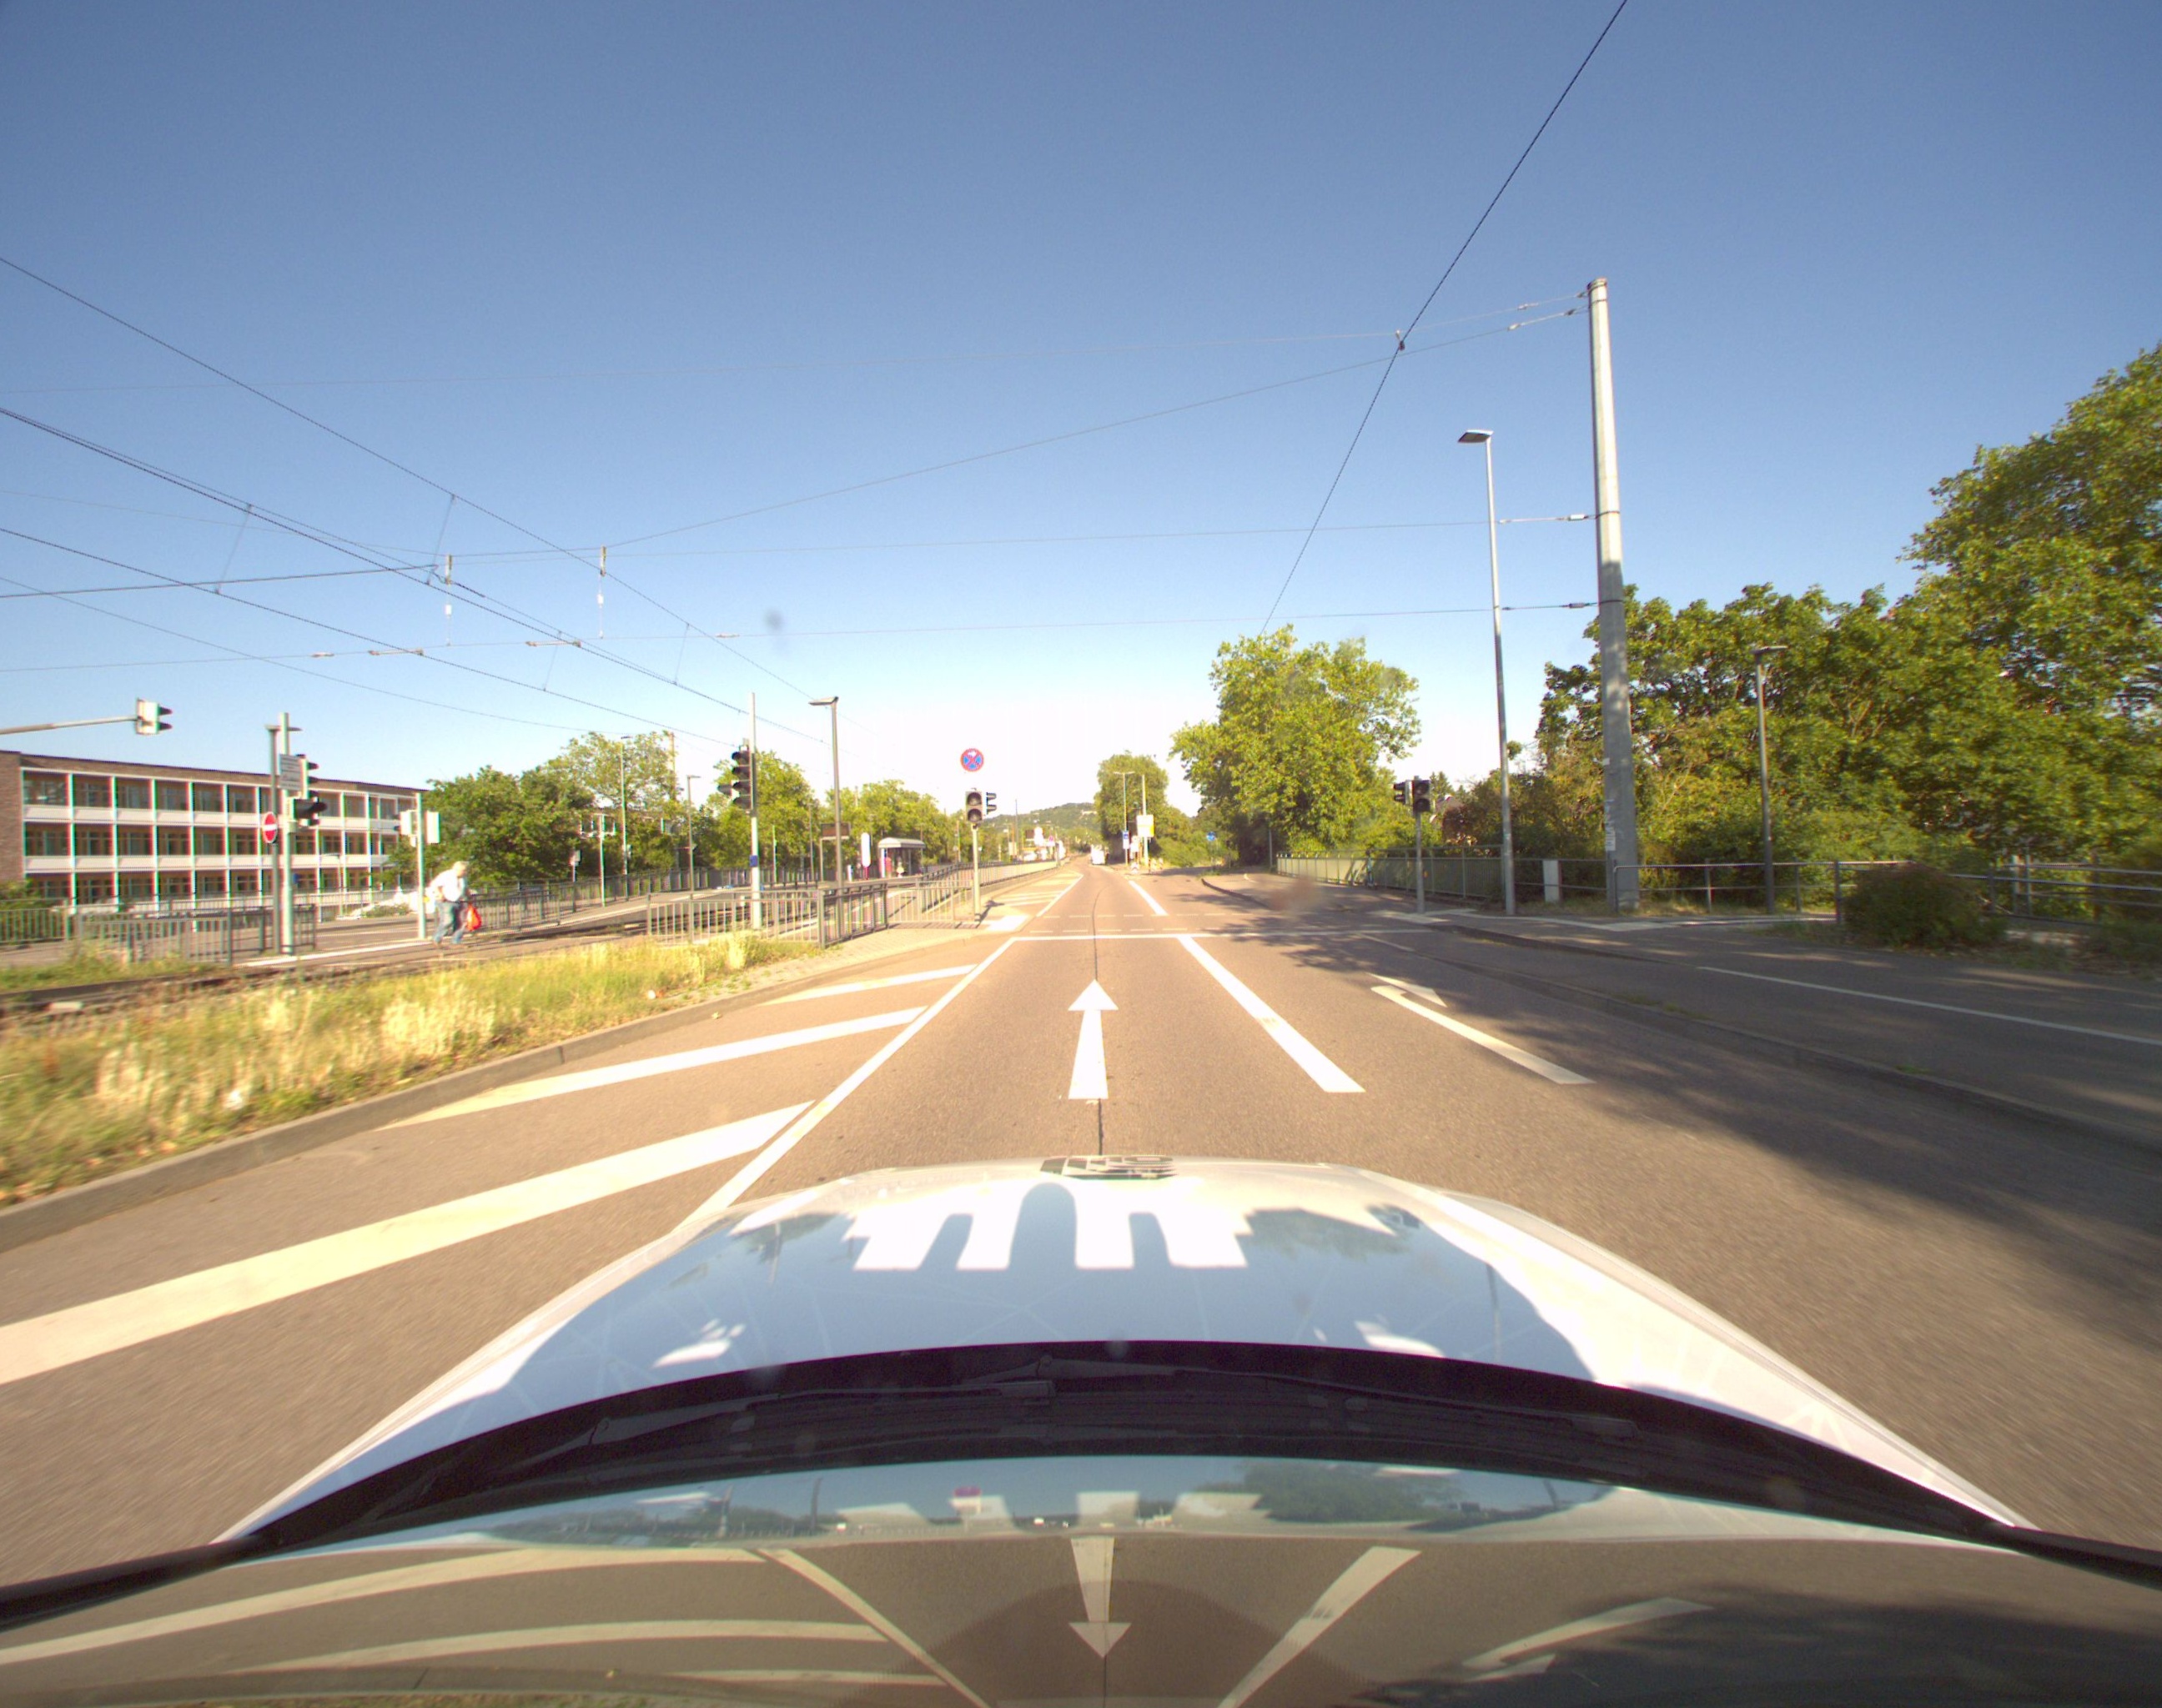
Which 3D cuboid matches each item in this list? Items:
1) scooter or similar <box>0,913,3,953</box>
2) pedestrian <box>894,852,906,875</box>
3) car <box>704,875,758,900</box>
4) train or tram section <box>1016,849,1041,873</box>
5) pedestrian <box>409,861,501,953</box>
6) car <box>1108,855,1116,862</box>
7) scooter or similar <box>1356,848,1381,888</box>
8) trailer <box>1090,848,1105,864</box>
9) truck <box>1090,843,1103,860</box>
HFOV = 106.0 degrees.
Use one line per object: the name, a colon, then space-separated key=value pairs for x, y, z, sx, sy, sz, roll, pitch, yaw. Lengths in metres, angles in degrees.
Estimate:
scooter or similar: x=-30.308 y=2.212 z=22.203 sx=0.403 sy=1.095 sz=1.131 roll=-2 pitch=0 yaw=-10
pedestrian: x=-13.935 y=0.754 z=62.770 sx=0.692 sy=1.757 sz=0.592 roll=-2 pitch=-1 yaw=37
car: x=-23.274 y=2.200 z=54.284 sx=1.726 sy=1.446 sz=4.001 roll=-2 pitch=0 yaw=2
train or tram section: x=-9.087 y=1.149 z=142.420 sx=2.817 sy=4.006 sz=15.880 roll=-1 pitch=0 yaw=2
pedestrian: x=-11.743 y=0.969 z=15.298 sx=0.882 sy=1.645 sz=0.991 roll=-2 pitch=0 yaw=17
car: x=6.694 y=0.956 z=175.732 sx=1.646 sy=1.437 sz=3.779 roll=-2 pitch=0 yaw=2
scooter or similar: x=9.455 y=0.463 z=26.806 sx=0.425 sy=1.275 sz=1.083 roll=-2 pitch=0 yaw=2
trailer: x=2.952 y=0.300 z=141.640 sx=2.241 sy=2.694 sz=5.953 roll=-1 pitch=0 yaw=4
truck: x=3.575 y=-0.502 z=189.441 sx=2.733 sy=3.783 sz=10.089 roll=0 pitch=0 yaw=0
